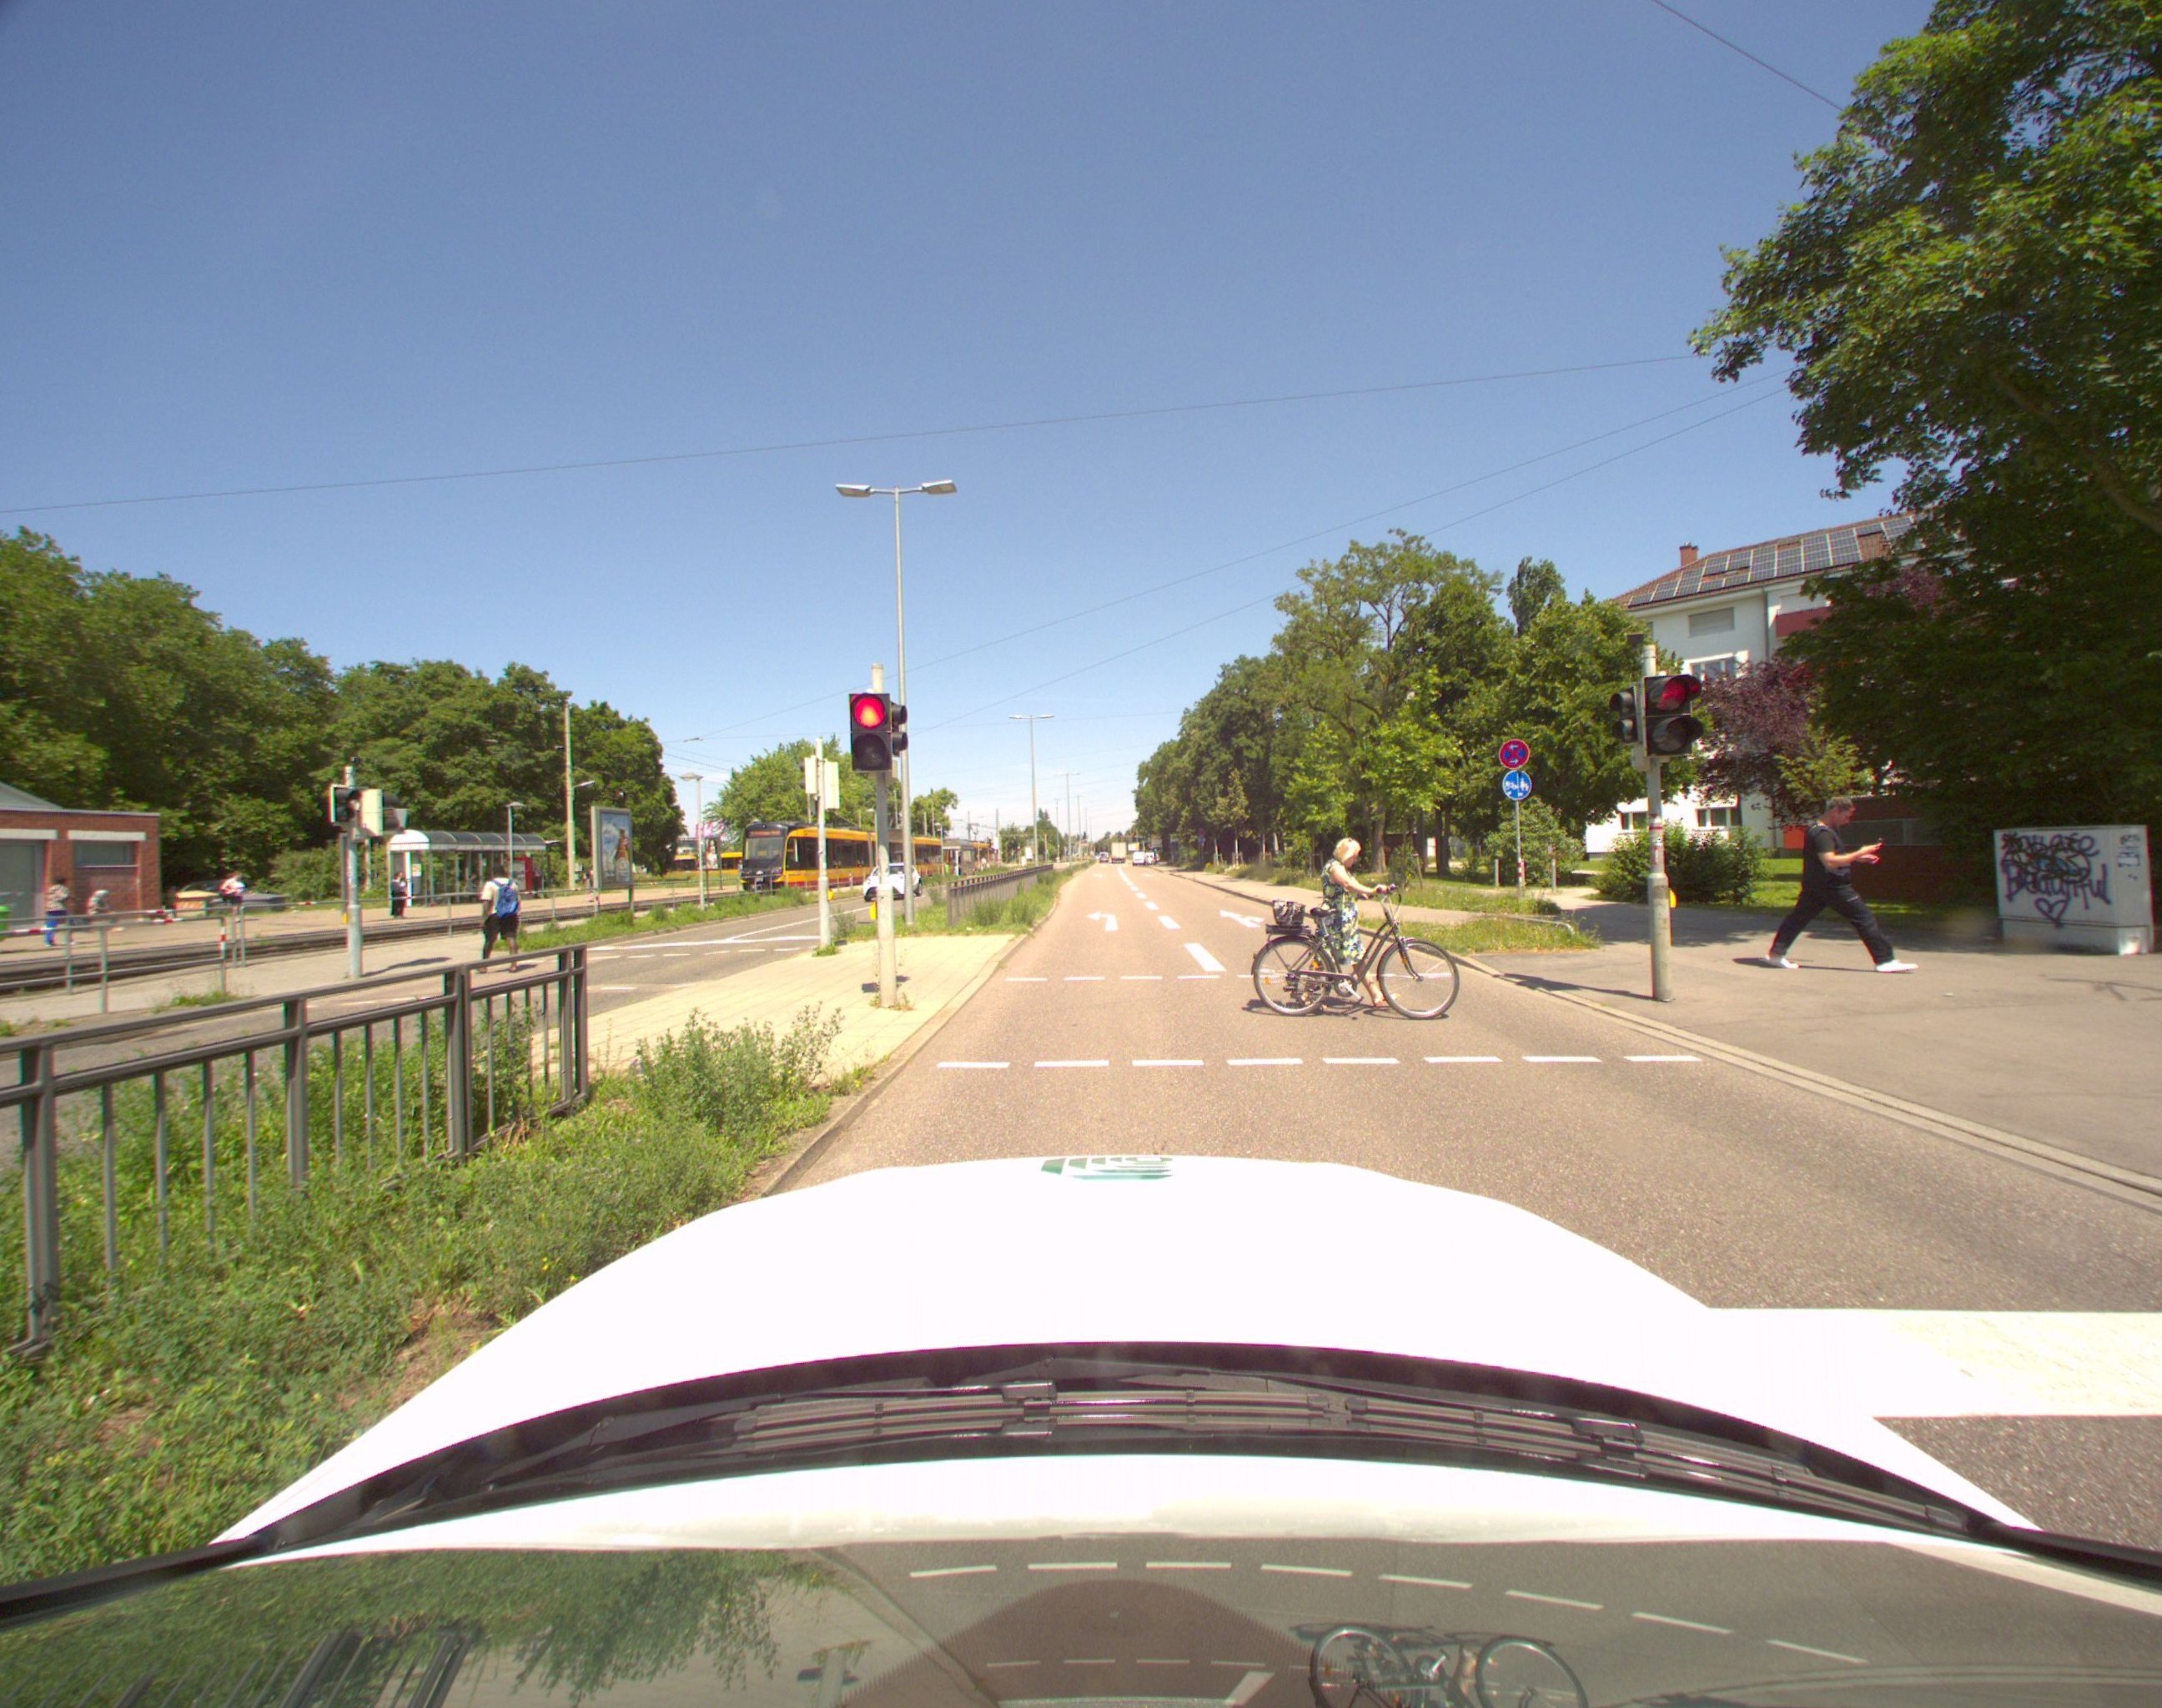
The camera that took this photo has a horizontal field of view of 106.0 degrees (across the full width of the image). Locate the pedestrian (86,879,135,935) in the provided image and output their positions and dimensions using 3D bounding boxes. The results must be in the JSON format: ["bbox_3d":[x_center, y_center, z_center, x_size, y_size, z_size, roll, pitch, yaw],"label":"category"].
[{"bbox_3d":[-26.680,1.442,22.390,0.636,1.480,0.570,-2,0,1],"label":"pedestrian"}]

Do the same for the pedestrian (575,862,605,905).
[{"bbox_3d":[-21.216,1.254,35.191,0.715,1.777,0.843,3,2,1],"label":"pedestrian"}]

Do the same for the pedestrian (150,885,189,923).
[{"bbox_3d":[-28.335,1.544,25.315,0.634,1.124,0.572,-2,0,16],"label":"pedestrian"}]

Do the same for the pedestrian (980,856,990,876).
[{"bbox_3d":[-9.887,1.239,84.004,0.812,2.013,0.939,-2,0,1],"label":"pedestrian"}]

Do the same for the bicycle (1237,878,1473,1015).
[{"bbox_3d":[2.437,0.822,7.428,1.944,1.161,0.543,-2,-2,12],"label":"bicycle"}]

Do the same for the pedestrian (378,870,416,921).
[{"bbox_3d":[-21.542,1.294,25.670,0.635,1.555,0.691,-2,0,-11],"label":"pedestrian"}]

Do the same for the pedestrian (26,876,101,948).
[{"bbox_3d":[-23.429,1.324,18.765,0.669,1.590,0.808,-2,0,1],"label":"pedestrian"}]

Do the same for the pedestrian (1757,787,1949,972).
[{"bbox_3d":[7.948,0.273,8.465,1.173,1.778,0.845,-4,-2,29],"label":"pedestrian"}]

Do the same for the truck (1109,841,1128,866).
[{"bbox_3d":[6.777,-0.085,146.199,3.193,4.359,6.563,-2,0,2],"label":"truck"}]

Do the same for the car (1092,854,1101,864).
[{"bbox_3d":[3.328,1.092,175.338,1.986,2.013,4.002,-2,0,2],"label":"car"}]

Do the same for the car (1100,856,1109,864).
[{"bbox_3d":[4.553,1.188,158.174,1.804,1.464,4.002,-2,0,2],"label":"car"}]

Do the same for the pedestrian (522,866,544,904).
[{"bbox_3d":[-26.080,1.467,38.735,0.725,1.800,0.835,-1,0,-41],"label":"pedestrian"}]

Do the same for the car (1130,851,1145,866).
[{"bbox_3d":[7.298,0.560,105.545,1.773,1.903,4.002,-2,0,2],"label":"car"}]

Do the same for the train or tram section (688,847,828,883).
[{"bbox_3d":[-40.368,1.424,101.393,18.289,3.931,3.242,-2,0,19],"label":"train or tram section"}]

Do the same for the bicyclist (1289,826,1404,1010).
[{"bbox_3d":[2.507,0.594,7.783,0.951,1.667,0.582,-2,-2,12],"label":"bicyclist"}]

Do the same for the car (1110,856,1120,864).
[{"bbox_3d":[6.488,1.141,153.695,1.804,1.464,4.002,-2,0,2],"label":"car"}]

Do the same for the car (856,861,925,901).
[{"bbox_3d":[-7.889,1.080,34.055,1.838,1.494,3.793,-2,0,2],"label":"car"}]

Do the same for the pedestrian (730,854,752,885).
[{"bbox_3d":[-22.468,1.015,53.790,0.977,2.013,1.021,-2,0,1],"label":"pedestrian"}]

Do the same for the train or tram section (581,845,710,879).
[{"bbox_3d":[-57.461,1.119,107.255,18.289,3.931,3.242,-2,0,19],"label":"train or tram section"}]

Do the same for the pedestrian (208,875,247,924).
[{"bbox_3d":[-26.089,1.383,24.899,0.633,1.456,0.586,-2,0,21],"label":"pedestrian"}]

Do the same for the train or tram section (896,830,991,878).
[{"bbox_3d":[-13.002,0.003,82.724,2.920,3.789,33.100,-2,0,2],"label":"train or tram section"}]

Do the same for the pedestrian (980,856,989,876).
[{"bbox_3d":[-10.130,1.252,85.372,0.812,2.013,0.939,-2,0,1],"label":"pedestrian"}]

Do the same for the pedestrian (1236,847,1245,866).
[{"bbox_3d":[12.296,0.218,62.903,0.600,1.438,0.557,-2,0,8],"label":"pedestrian"}]

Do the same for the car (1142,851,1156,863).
[{"bbox_3d":[9.908,0.458,118.768,1.773,1.668,4.002,-2,0,2],"label":"car"}]

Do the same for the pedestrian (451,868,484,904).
[{"bbox_3d":[-26.283,1.376,34.903,0.836,1.511,0.723,-2,0,12],"label":"pedestrian"}]

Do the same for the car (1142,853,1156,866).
[{"bbox_3d":[9.387,0.717,112.427,1.773,1.668,4.002,-2,0,2],"label":"car"}]

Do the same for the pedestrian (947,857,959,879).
[{"bbox_3d":[-10.979,1.201,69.736,0.783,1.868,0.818,-2,0,1],"label":"pedestrian"}]

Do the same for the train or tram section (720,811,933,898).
[{"bbox_3d":[-14.024,0.021,51.197,2.946,3.749,30.044,-2,0,2],"label":"train or tram section"}]

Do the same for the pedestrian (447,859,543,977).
[{"bbox_3d":[-9.545,1.026,13.291,0.837,1.777,0.720,-5,2,1],"label":"pedestrian"}]
